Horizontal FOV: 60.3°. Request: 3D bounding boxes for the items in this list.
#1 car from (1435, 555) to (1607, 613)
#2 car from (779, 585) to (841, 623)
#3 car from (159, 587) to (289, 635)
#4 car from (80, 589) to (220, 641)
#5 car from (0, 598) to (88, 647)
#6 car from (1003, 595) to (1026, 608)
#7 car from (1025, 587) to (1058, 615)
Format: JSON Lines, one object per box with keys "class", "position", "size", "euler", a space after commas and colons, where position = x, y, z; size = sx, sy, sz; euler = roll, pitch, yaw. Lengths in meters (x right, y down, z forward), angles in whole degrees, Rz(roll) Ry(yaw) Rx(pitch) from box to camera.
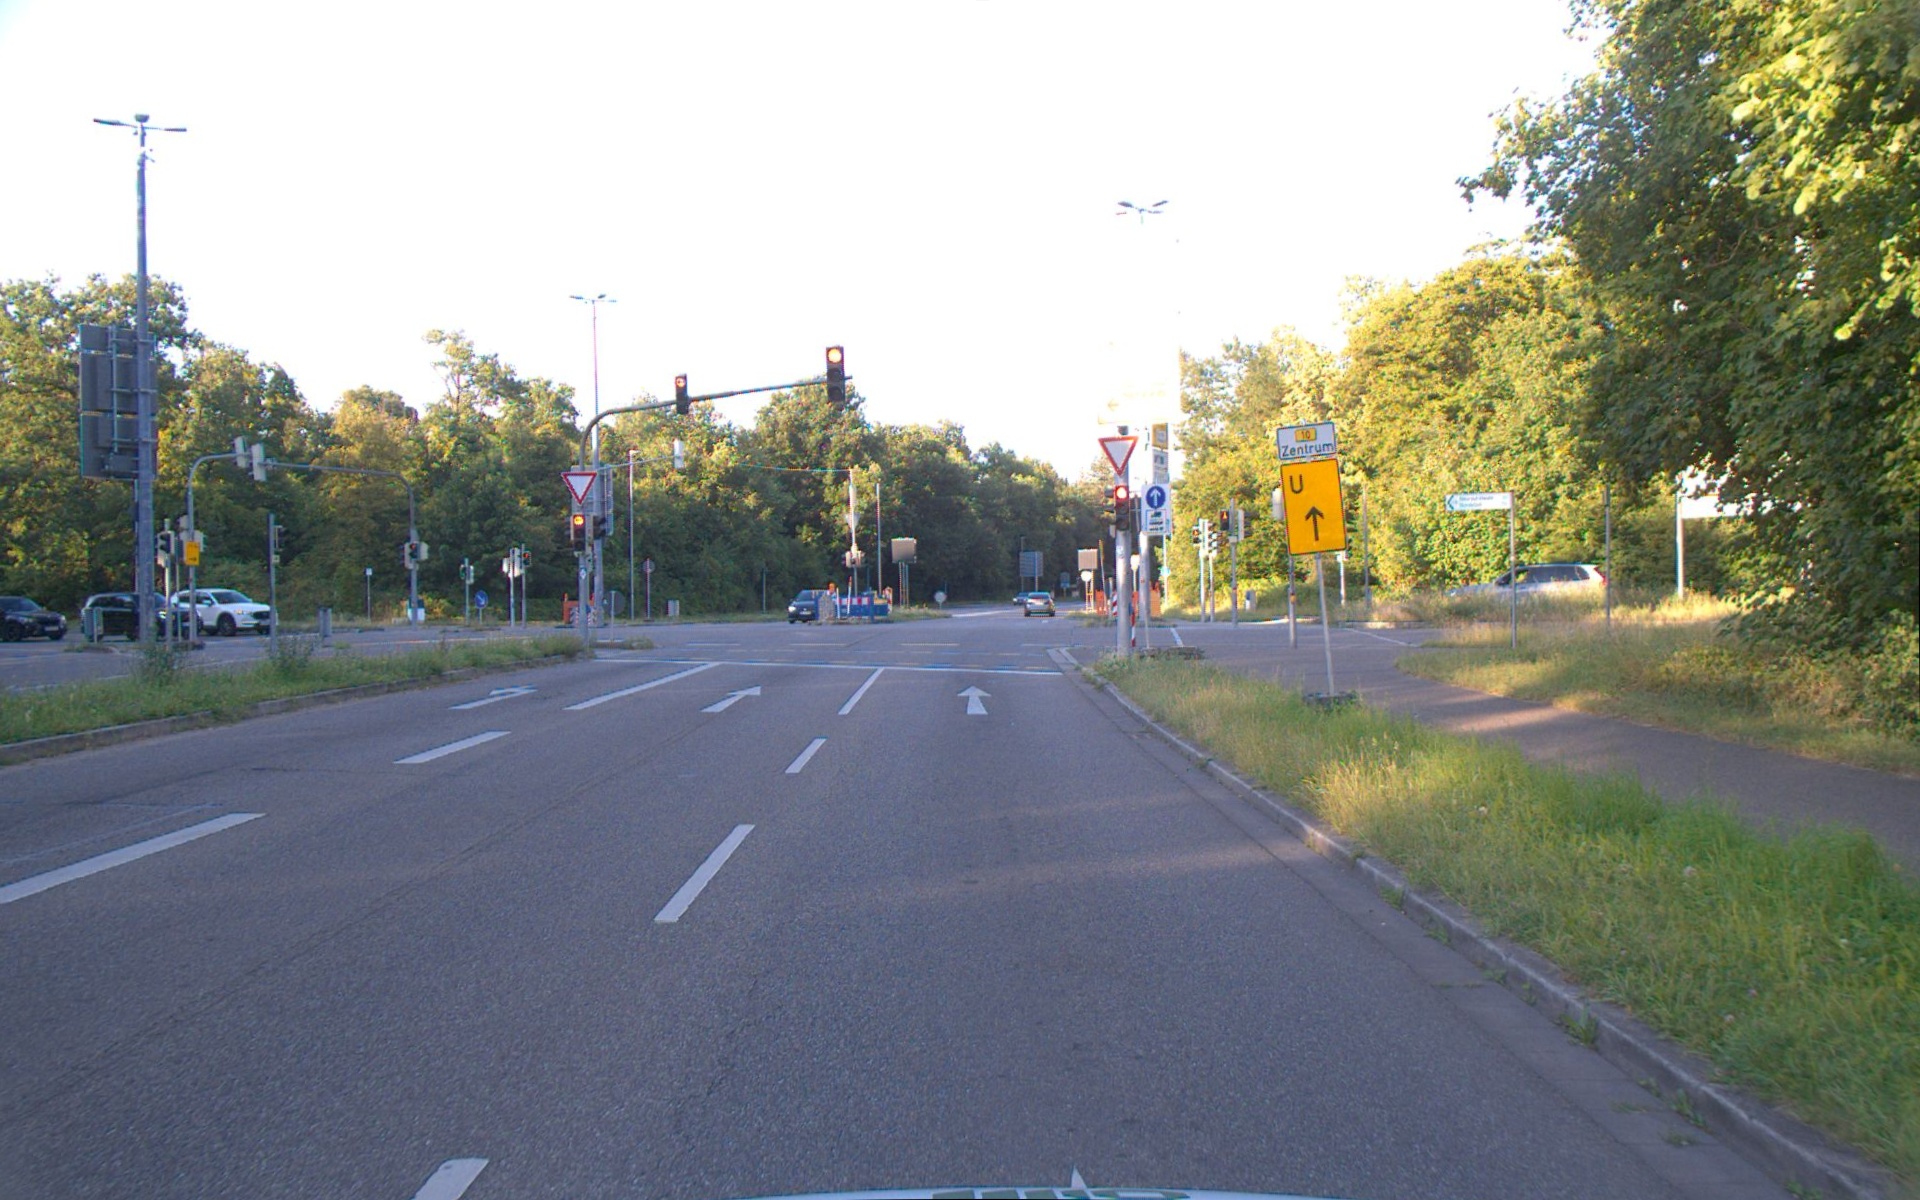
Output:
{"class": "car", "position": [16.724, -0.467, 49.286], "size": [4.717, 1.626, 2.000], "euler": [-1, 0, 23]}
{"class": "car", "position": [-6.651, 0.154, 73.900], "size": [1.951, 1.556, 4.681], "euler": [-1, 1, 5]}
{"class": "car", "position": [-26.578, 0.404, 59.747], "size": [4.157, 1.668, 2.000], "euler": [-1, 1, 23]}
{"class": "car", "position": [-27.317, 0.509, 55.806], "size": [4.157, 1.668, 2.000], "euler": [-1, 1, 23]}
{"class": "car", "position": [-33.622, 0.818, 59.275], "size": [4.157, 1.668, 2.000], "euler": [-1, 1, 23]}
{"class": "car", "position": [6.336, 0.139, 192.257], "size": [1.951, 1.445, 4.004], "euler": [-1, 1, 13]}
{"class": "car", "position": [5.157, 0.036, 104.088], "size": [1.951, 1.646, 4.002], "euler": [-1, 1, 4]}
